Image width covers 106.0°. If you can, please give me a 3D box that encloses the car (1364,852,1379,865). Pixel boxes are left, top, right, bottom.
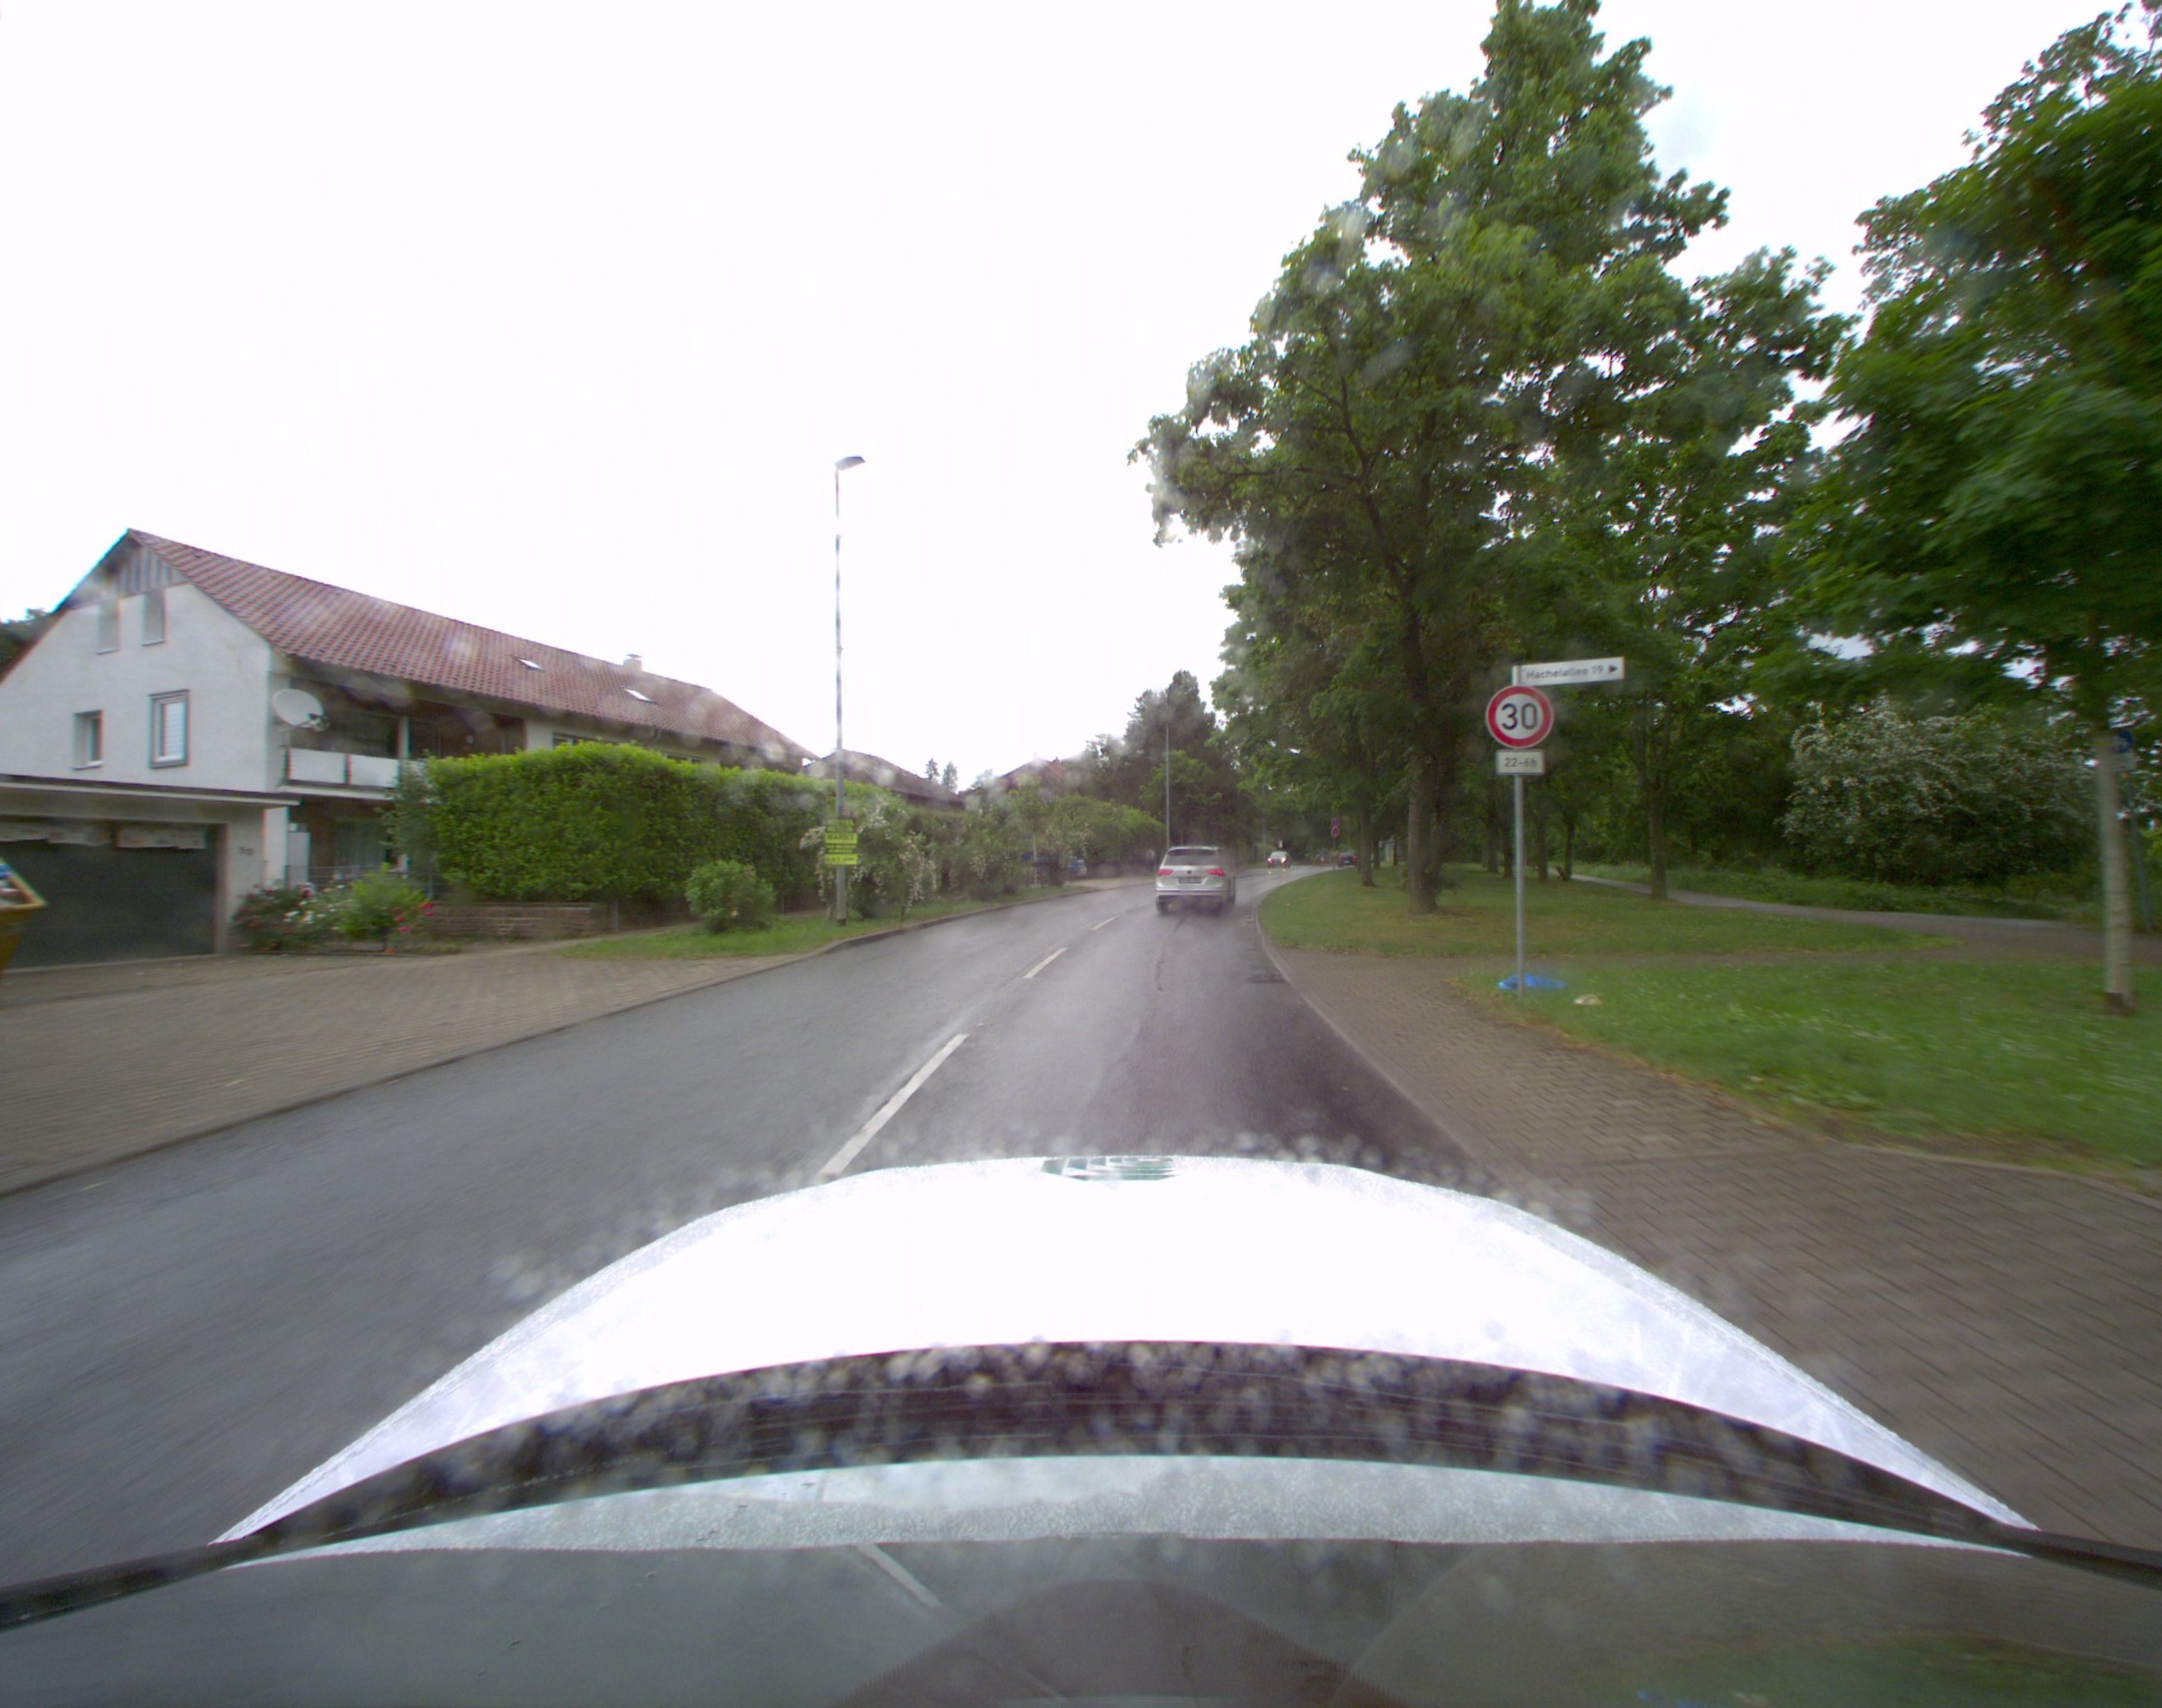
[{"bbox_3d":[43.088,0.714,120.897,1.977,1.804,4.019,1,-1,20],"label":"car"}]

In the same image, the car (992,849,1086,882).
[{"bbox_3d":[-2.065,0.554,40.363,4.204,1.539,2.061,0,0,17],"label":"car"}]

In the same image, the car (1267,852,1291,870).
[{"bbox_3d":[17.314,0.562,71.238,1.570,1.477,3.915,-2,0,20],"label":"car"}]

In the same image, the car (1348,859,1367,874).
[{"bbox_3d":[33.335,1.507,98.113,1.977,1.759,4.019,1,-1,20],"label":"car"}]

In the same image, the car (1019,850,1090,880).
[{"bbox_3d":[-1.392,0.580,43.559,3.376,1.519,1.739,0,0,17],"label":"car"}]

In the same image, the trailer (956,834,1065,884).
[{"bbox_3d":[-3.186,0.239,37.157,4.584,2.171,1.823,0,0,17],"label":"trailer"}]

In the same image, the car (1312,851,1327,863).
[{"bbox_3d":[38.238,0.435,130.326,1.977,1.763,4.019,1,-1,20],"label":"car"}]

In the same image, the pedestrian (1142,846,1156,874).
[{"bbox_3d":[4.007,0.342,47.865,0.773,1.662,0.845,0,0,6],"label":"pedestrian"}]

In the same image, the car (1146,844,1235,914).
[{"bbox_3d":[2.978,0.598,21.377,1.961,1.653,4.191,0,0,12],"label":"car"}]

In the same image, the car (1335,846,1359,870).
[{"bbox_3d":[24.000,0.368,73.684,1.887,2.014,3.960,1,-1,16],"label":"car"}]
